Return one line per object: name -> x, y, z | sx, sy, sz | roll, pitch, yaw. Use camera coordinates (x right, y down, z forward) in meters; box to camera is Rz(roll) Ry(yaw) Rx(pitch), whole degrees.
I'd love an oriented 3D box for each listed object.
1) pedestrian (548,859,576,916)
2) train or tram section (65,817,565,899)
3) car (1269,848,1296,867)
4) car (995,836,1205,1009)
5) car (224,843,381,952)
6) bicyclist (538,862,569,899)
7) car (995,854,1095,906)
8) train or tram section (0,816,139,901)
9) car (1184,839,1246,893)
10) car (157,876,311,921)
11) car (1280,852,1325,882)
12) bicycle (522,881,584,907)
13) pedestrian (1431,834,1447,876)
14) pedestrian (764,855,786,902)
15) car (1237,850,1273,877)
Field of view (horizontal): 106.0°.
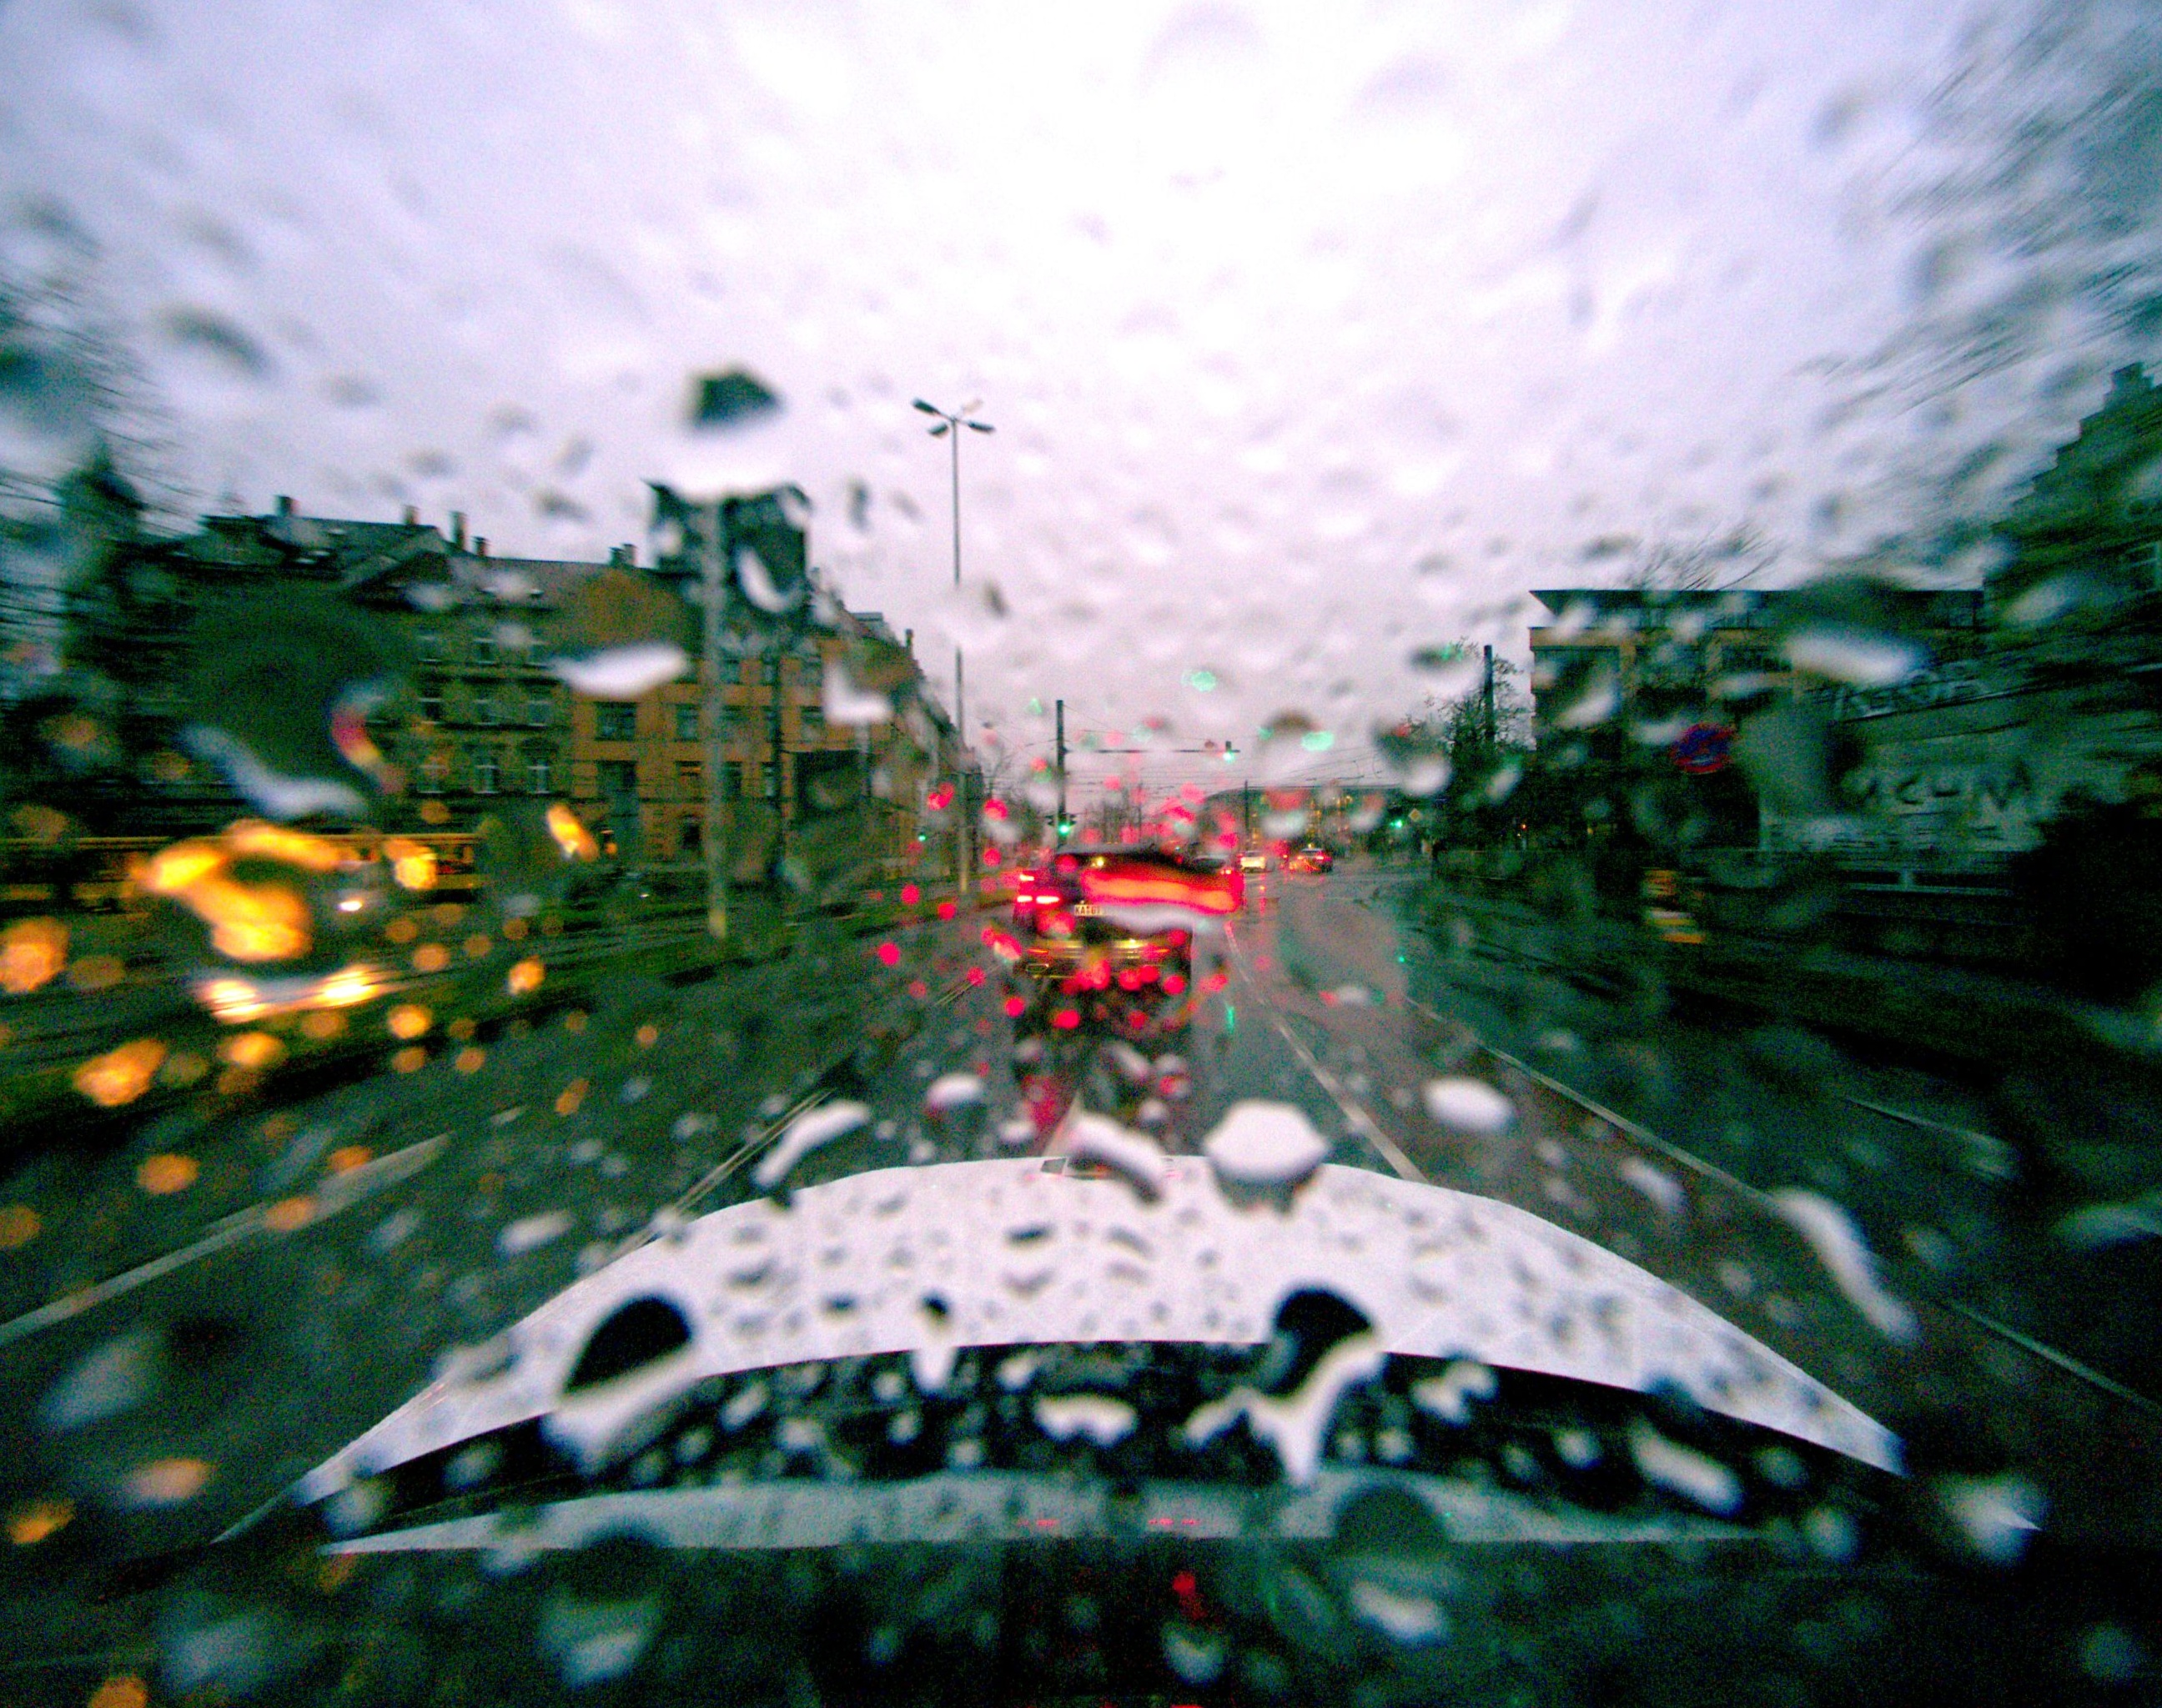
pedestrian -> -16.681, 1.058, 26.199 | 0.627, 1.792, 0.529 | 0, 0, -17
train or tram section -> -32.090, 0.157, 35.252 | 16.273, 3.188, 3.155 | 0, 0, -13
car -> 16.385, 0.284, 66.016 | 1.847, 1.409, 3.962 | -1, 0, 17
car -> 0.223, 0.649, 9.829 | 1.984, 1.616, 4.001 | -1, 0, 1
car -> -16.559, 0.887, 17.572 | 2.010, 1.946, 4.797 | -3, 0, -39
bicyclist -> -20.349, 1.005, 31.436 | 0.972, 1.390, 0.501 | -1, 0, -32
car -> -0.998, 0.730, 24.827 | 1.979, 1.398, 4.015 | -1, 0, 13
train or tram section -> -45.418, 0.168, 32.035 | 11.127, 3.237, 3.155 | 0, 0, -13
car -> 4.875, 0.394, 29.173 | 1.980, 1.765, 4.013 | -1, 0, 11
car -> -29.366, 1.535, 28.297 | 3.820, 1.450, 1.651 | -1, 0, 5
car -> 13.924, 0.781, 50.990 | 1.975, 1.765, 4.023 | -1, 0, 25
bicycle -> -20.349, 1.539, 31.436 | 1.992, 0.900, 0.501 | -1, 0, -32
pedestrian -> 16.502, 0.041, 37.537 | 0.567, 1.838, 0.687 | -4, 0, 24
pedestrian -> -11.646, 0.939, 31.022 | 0.463, 1.772, 0.631 | -1, -1, 17
car -> 11.920, 0.616, 55.683 | 1.978, 1.765, 4.018 | -1, 0, 17
